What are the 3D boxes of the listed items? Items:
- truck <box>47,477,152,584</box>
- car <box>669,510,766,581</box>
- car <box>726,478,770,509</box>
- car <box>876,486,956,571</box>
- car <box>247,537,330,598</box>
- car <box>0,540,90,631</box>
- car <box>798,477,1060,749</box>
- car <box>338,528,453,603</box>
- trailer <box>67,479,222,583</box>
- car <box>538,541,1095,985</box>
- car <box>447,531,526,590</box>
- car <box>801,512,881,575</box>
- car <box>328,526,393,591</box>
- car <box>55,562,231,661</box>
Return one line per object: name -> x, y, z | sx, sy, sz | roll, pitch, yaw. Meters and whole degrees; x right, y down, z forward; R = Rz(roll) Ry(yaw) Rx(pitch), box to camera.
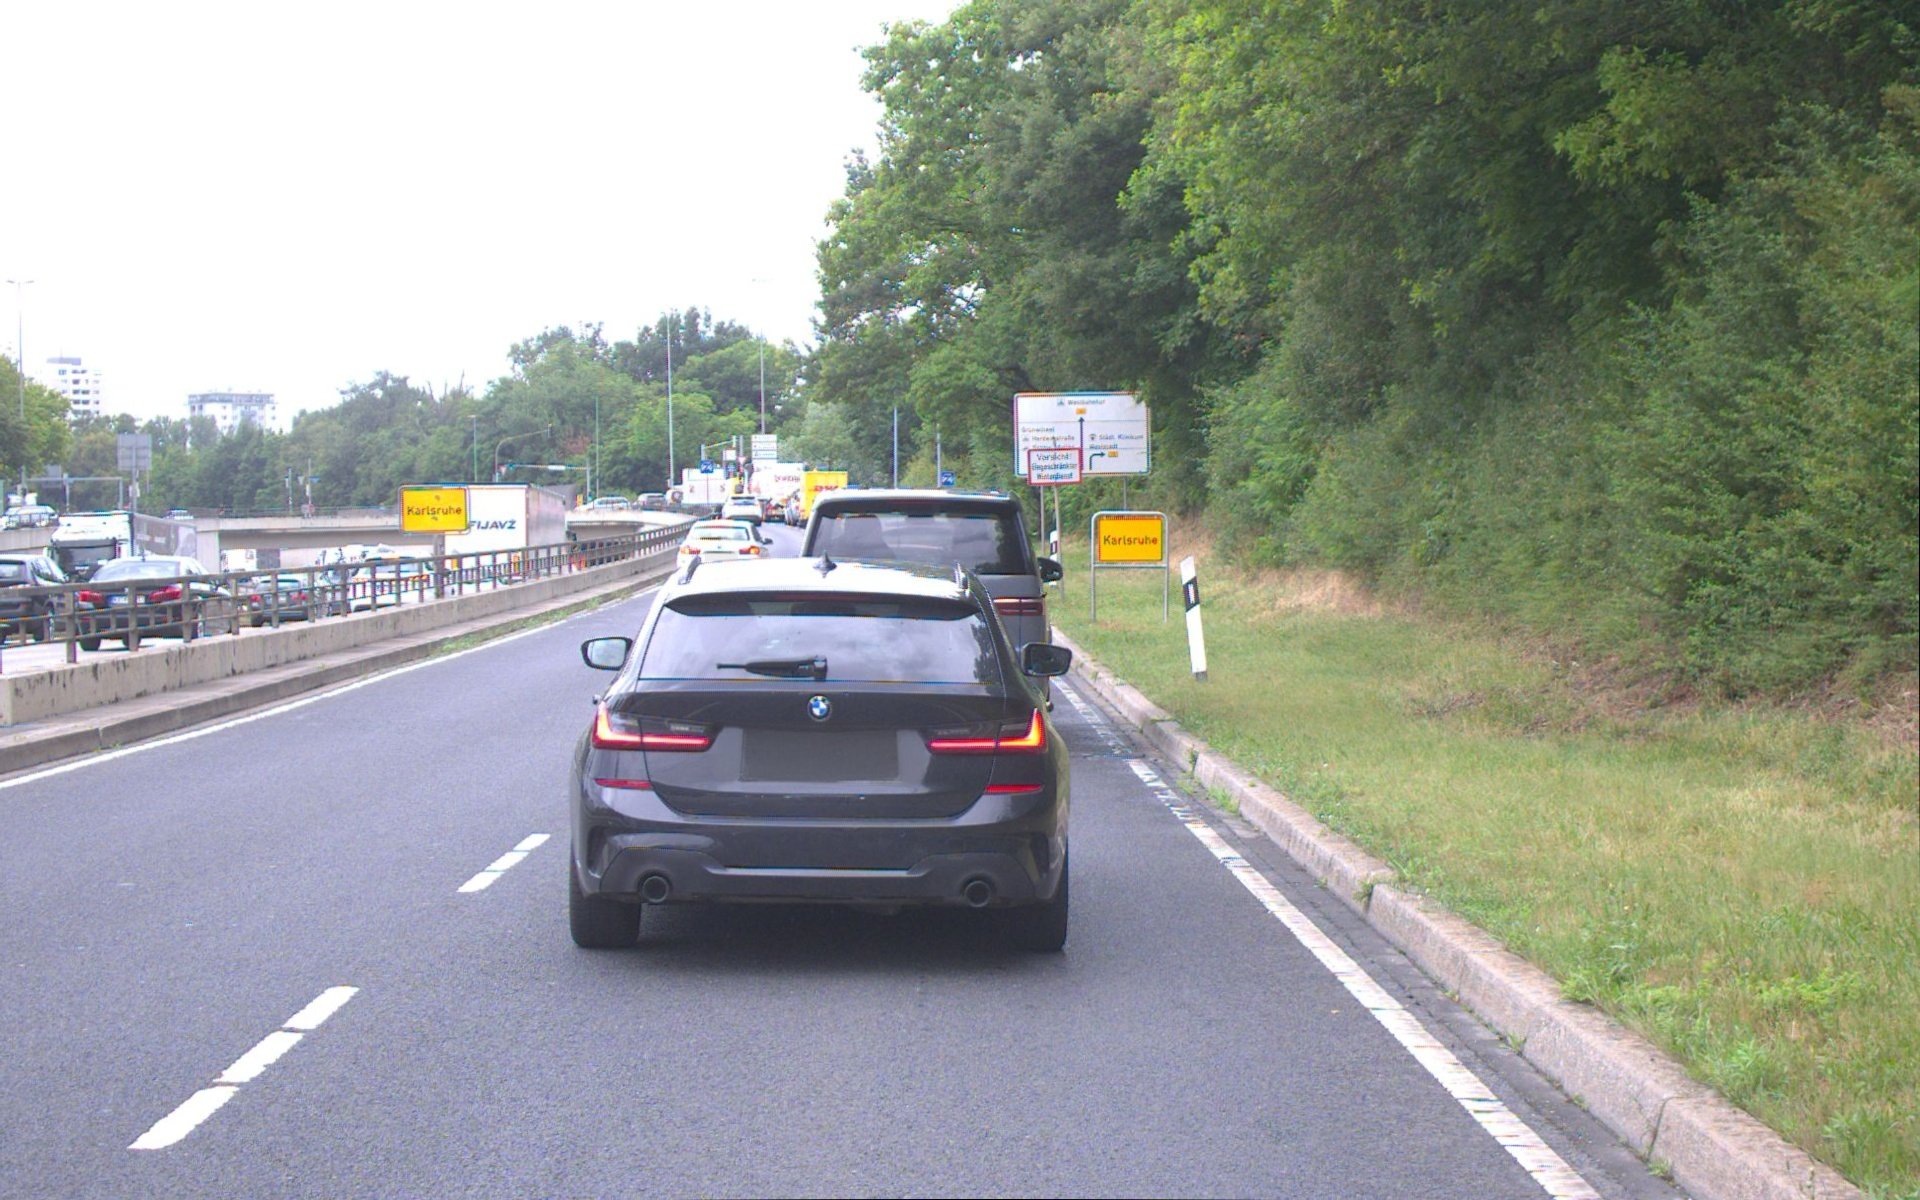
truck -> -30.893, -2.492, 123.526 | 2.592, 3.755, 4.778 | 0, 1, -1
car -> -5.150, -1.181, 73.451 | 1.859, 1.459, 4.885 | 0, 1, -2
car -> -11.095, -5.561, 179.773 | 1.930, 1.590, 3.878 | -1, 1, -9
car -> -0.821, -1.332, 64.083 | 1.452, 1.535, 3.225 | 0, 1, -1
car -> -18.909, -0.932, 96.912 | 1.687, 1.626, 3.735 | 1, 1, -2
car -> -17.558, -0.288, 64.286 | 1.687, 1.602, 4.008 | 1, 1, -2
car -> -0.236, 0.053, 25.621 | 1.796, 1.865, 4.000 | 0, 1, -1
car -> -13.022, -0.824, 79.550 | 1.946, 1.686, 4.507 | 0, 1, 0
trailer -> -31.011, -2.626, 131.398 | 2.591, 3.745, 14.728 | 0, 1, -1
car -> -0.566, 0.514, 13.523 | 1.846, 1.461, 4.001 | 1, 1, -3
car -> -12.822, -1.089, 93.328 | 1.768, 1.544, 3.493 | 0, 1, -2
car -> -2.863, -1.375, 82.585 | 1.859, 1.459, 4.534 | 0, 1, -2
car -> -19.293, -1.360, 110.765 | 1.443, 2.037, 3.680 | 0, 1, 0
car -> -12.953, 0.147, 54.773 | 1.712, 1.452, 4.666 | 0, 1, 0
